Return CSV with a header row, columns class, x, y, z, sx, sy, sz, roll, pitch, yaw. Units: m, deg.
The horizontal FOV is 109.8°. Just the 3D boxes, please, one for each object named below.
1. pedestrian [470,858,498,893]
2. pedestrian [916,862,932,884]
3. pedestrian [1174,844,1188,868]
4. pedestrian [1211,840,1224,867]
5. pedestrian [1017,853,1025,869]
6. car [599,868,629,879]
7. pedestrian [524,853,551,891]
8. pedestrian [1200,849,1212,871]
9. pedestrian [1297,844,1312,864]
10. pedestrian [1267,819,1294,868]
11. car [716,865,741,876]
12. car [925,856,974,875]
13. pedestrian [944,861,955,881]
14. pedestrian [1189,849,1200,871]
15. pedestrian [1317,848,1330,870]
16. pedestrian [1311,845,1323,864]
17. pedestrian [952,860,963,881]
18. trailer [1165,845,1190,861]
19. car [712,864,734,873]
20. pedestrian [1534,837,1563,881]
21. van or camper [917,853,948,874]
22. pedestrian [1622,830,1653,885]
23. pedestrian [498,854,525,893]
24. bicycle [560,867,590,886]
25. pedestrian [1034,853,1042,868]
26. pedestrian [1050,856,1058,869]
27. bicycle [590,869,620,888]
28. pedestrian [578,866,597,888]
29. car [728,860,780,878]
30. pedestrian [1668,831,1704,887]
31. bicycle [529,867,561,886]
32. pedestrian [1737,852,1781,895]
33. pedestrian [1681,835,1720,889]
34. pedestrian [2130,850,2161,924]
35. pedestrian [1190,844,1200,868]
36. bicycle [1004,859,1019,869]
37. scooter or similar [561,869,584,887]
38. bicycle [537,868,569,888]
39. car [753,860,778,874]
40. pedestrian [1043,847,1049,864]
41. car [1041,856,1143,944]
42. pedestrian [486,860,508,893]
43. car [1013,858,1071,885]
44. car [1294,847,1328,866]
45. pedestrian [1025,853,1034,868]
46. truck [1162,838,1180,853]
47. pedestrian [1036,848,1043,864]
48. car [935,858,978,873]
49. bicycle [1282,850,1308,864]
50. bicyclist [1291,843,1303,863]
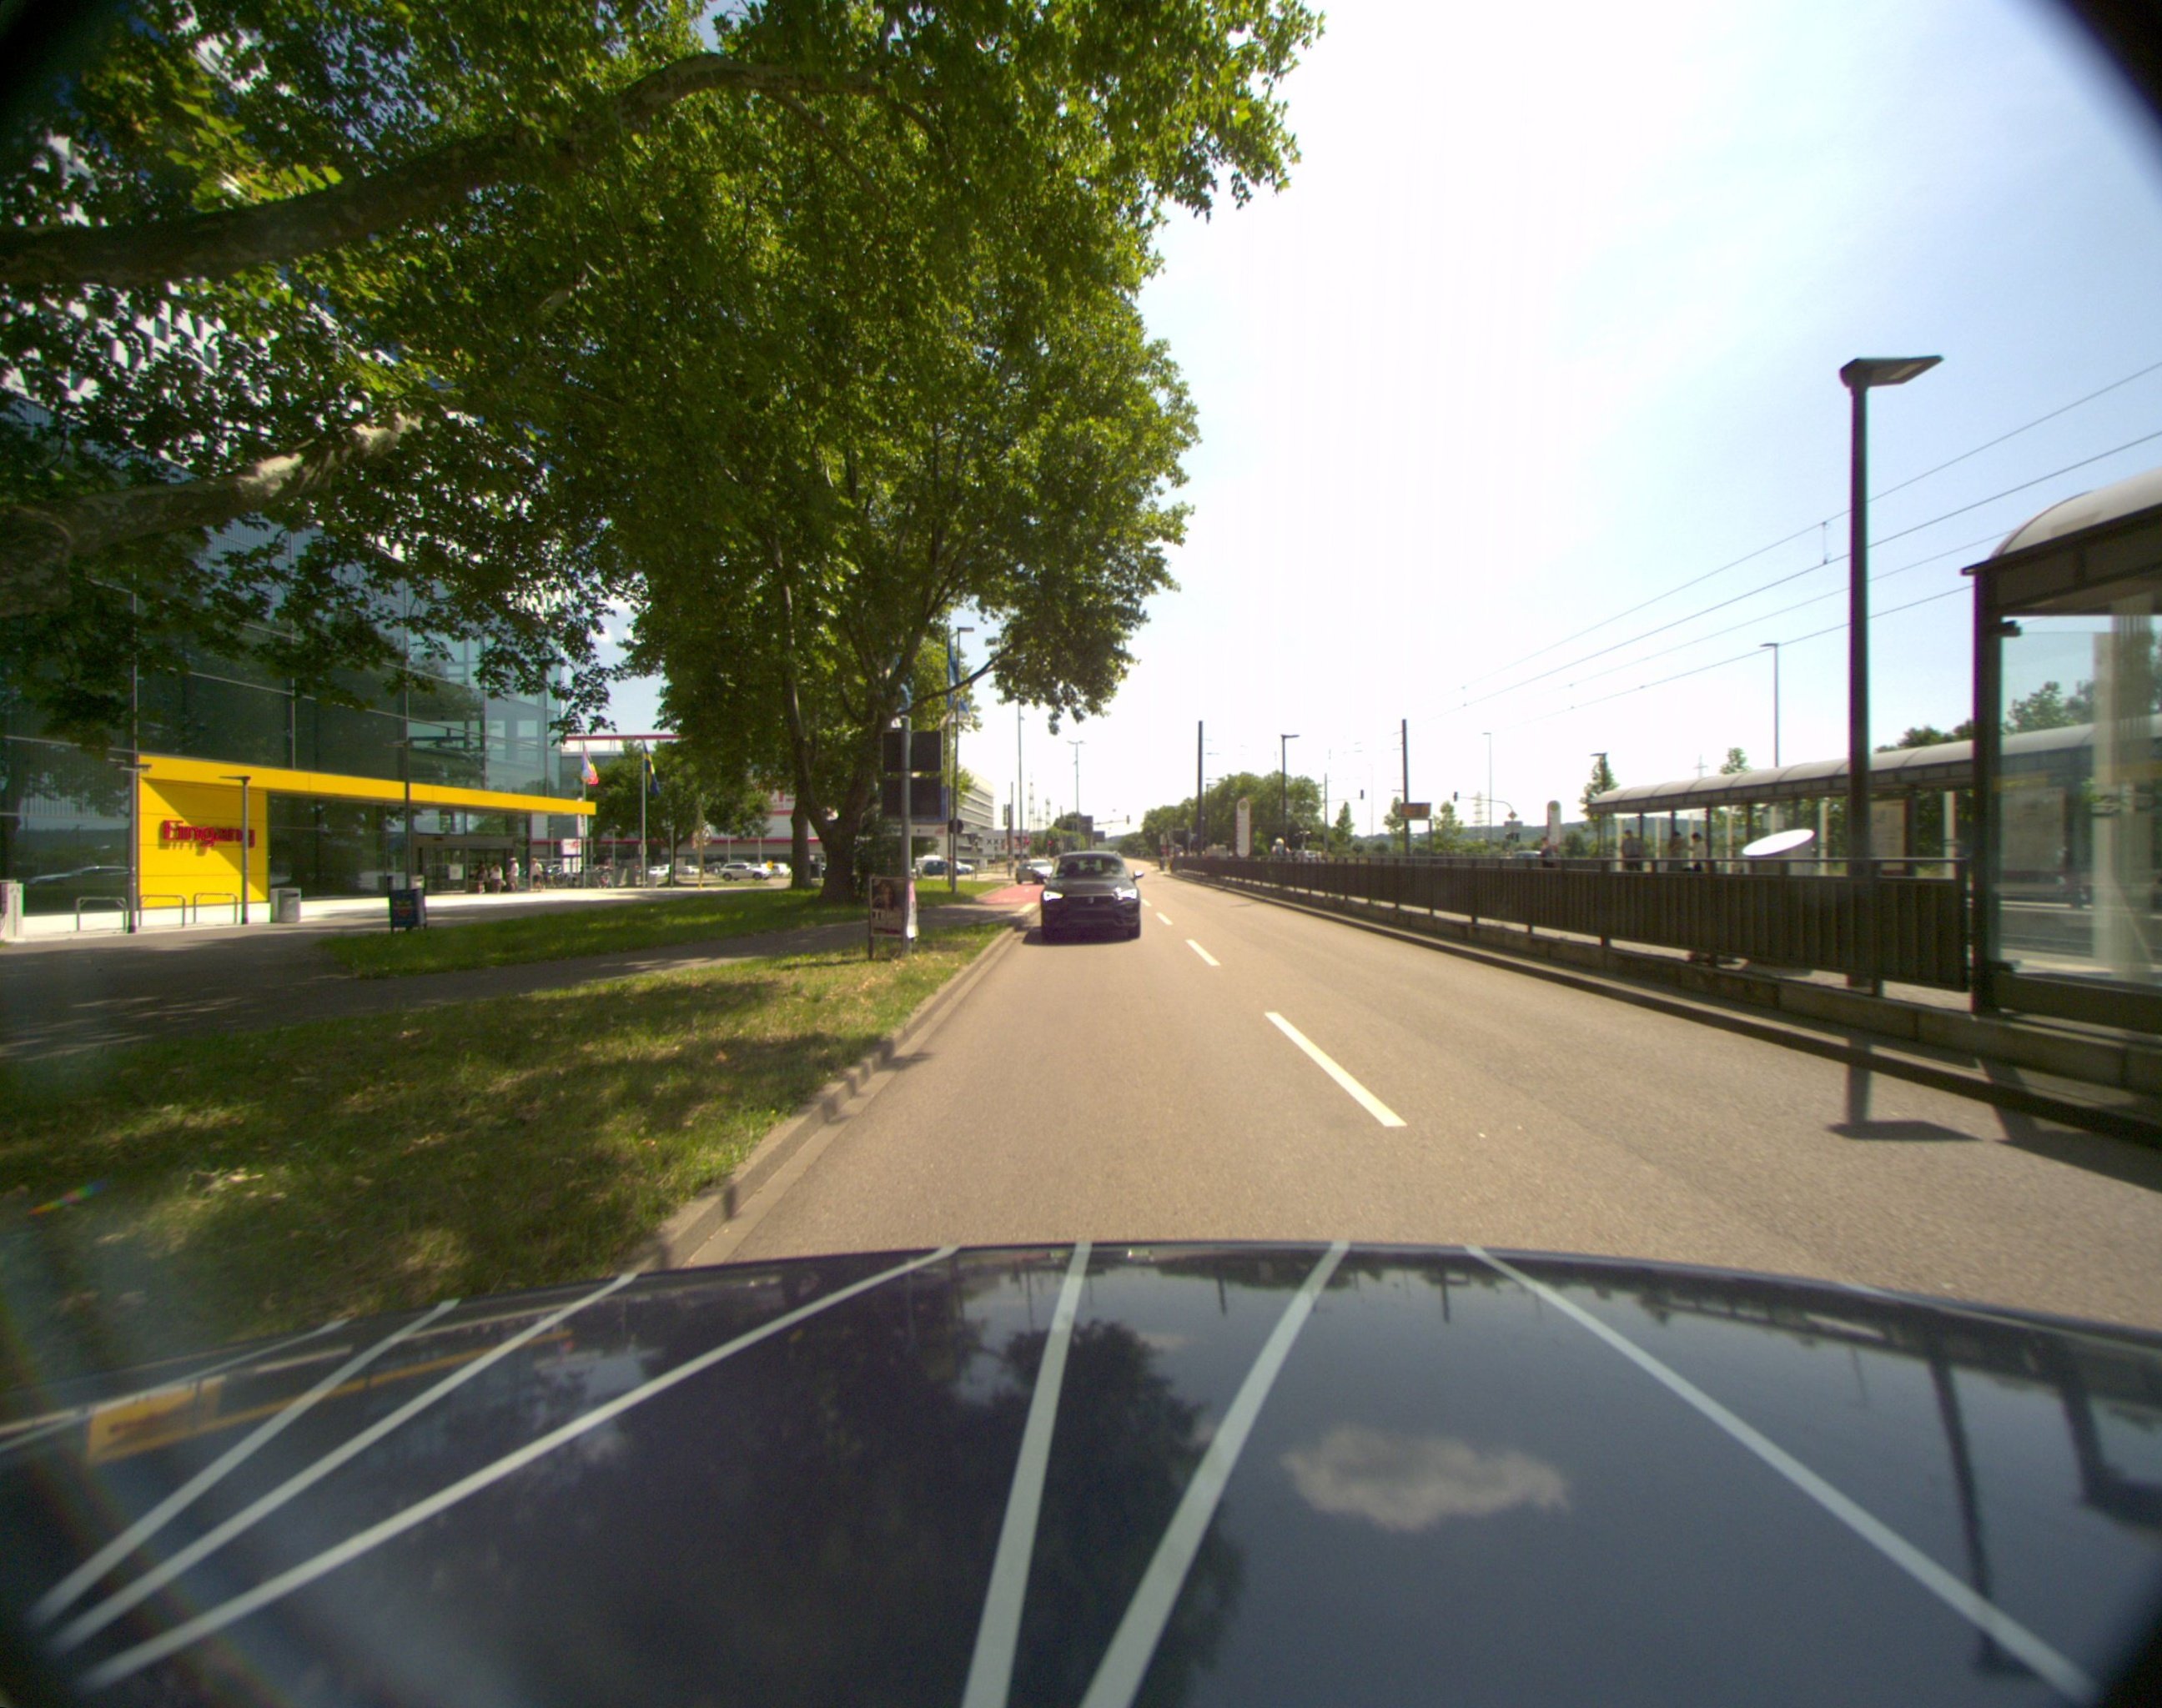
class,x,y,z,sx,sy,sz,roll,pitch,yaw
pedestrian,-30.011,1.072,38.193,0.782,1.725,0.742,-1,0,13
pedestrian,-11.977,1.459,57.819,0.795,1.649,0.853,-1,1,22
pedestrian,7.348,0.145,55.836,0.865,1.791,0.883,-2,1,-2
pedestrian,8.590,-0.032,47.841,0.615,1.671,0.720,-2,1,-1
pedestrian,-7.262,0.880,92.437,0.805,1.854,0.798,-2,1,6
car,-73.919,3.047,120.430,1.852,1.692,4.173,-1,0,5
pedestrian,-28.945,0.965,40.468,0.798,2.002,0.733,-1,0,9
pedestrian,7.848,0.393,47.652,0.615,1.337,0.720,-2,1,-1
pedestrian,18.251,-0.008,62.074,0.959,1.600,0.764,-1,0,-1
pedestrian,6.958,-0.365,26.490,0.734,1.656,0.742,-1,0,0
car,-52.726,2.504,113.641,1.853,1.537,3.999,-2,0,-2
car,-11.989,1.037,69.505,3.997,1.546,2.000,-2,-1,0
pedestrian,-10.648,1.375,61.502,0.603,1.628,0.864,-2,2,6
pedestrian,8.712,0.487,58.451,0.734,1.663,0.678,0,1,-2
pedestrian,19.138,0.399,59.886,0.763,1.662,0.764,-1,0,-1
pedestrian,18.976,0.045,61.110,0.763,1.539,0.764,-1,0,-1
pedestrian,-10.013,1.350,61.466,0.607,1.628,0.864,-2,2,6
trailer,24.972,-0.296,197.256,3.124,3.848,15.473,0,0,-6
car,-60.926,2.489,129.410,1.693,1.302,4.000,-2,0,3
pedestrian,17.976,0.189,29.227,0.558,1.628,0.806,-1,1,-6
van or camper,-22.620,1.375,115.983,2.715,2.929,7.614,-2,1,3
pedestrian,17.535,0.107,23.941,0.736,1.719,0.579,0,1,39
pedestrian,-29.774,0.989,39.705,0.798,2.002,0.733,-1,0,14
bicycle,-33.747,1.489,50.744,0.803,1.192,2.430,0,0,-12
pedestrian,-4.923,0.769,86.678,0.785,1.663,0.946,-1,1,-10
pedestrian,-3.122,0.972,88.056,0.592,1.467,0.804,-1,1,-45
bicycle,-31.102,1.592,49.683,0.803,1.138,2.430,-1,0,-12
pedestrian,-34.890,1.618,53.715,0.920,1.577,0.633,-1,1,-4
car,-31.191,1.463,72.641,4.080,1.630,1.999,0,0,-3
pedestrian,17.893,0.156,22.489,0.826,1.629,0.579,0,1,39
bicycle,-35.791,1.513,50.793,0.803,1.192,2.430,-1,0,-12
pedestrian,17.690,0.508,19.845,0.578,1.088,0.639,-1,0,2
pedestrian,17.710,0.222,21.723,0.578,1.524,0.639,-1,0,2
pedestrian,17.631,0.531,12.238,0.578,1.183,0.639,-1,0,2
pedestrian,7.297,0.123,48.565,0.498,1.568,0.557,-1,1,0
bicycle,-8.688,1.231,95.289,0.833,1.155,1.873,-1,1,-44
scooter or similar,-35.932,1.702,53.717,1.076,1.191,0.728,-2,1,0
bicycle,-34.742,1.572,50.004,0.803,1.192,2.430,-1,0,-12
car,-48.720,2.030,117.462,1.998,2.002,4.001,-2,1,4
pedestrian,-3.505,0.184,75.914,0.528,1.656,0.640,-2,1,6
car,0.103,0.837,15.844,1.820,1.583,3.998,0,0,-3
pedestrian,-29.890,1.139,38.891,0.606,1.662,0.587,-2,1,14
car,-2.295,0.955,43.960,1.734,1.410,4.312,-3,1,-26
car,20.883,0.182,69.035,1.998,1.619,4.000,-3,1,3
pedestrian,-6.258,0.796,92.470,0.807,1.749,0.795,-2,1,-34
truck,24.255,-2.252,204.349,3.135,4.015,7.471,-2,0,-6
pedestrian,-4.123,0.208,75.862,0.528,1.570,0.612,-2,1,6
car,-11.848,1.094,72.610,3.834,1.389,1.803,-1,0,-1
bicycle,17.839,0.287,63.389,1.979,1.094,0.763,-2,1,-14
bicyclist,18.015,-0.068,63.464,0.666,1.606,0.732,-2,1,-14
